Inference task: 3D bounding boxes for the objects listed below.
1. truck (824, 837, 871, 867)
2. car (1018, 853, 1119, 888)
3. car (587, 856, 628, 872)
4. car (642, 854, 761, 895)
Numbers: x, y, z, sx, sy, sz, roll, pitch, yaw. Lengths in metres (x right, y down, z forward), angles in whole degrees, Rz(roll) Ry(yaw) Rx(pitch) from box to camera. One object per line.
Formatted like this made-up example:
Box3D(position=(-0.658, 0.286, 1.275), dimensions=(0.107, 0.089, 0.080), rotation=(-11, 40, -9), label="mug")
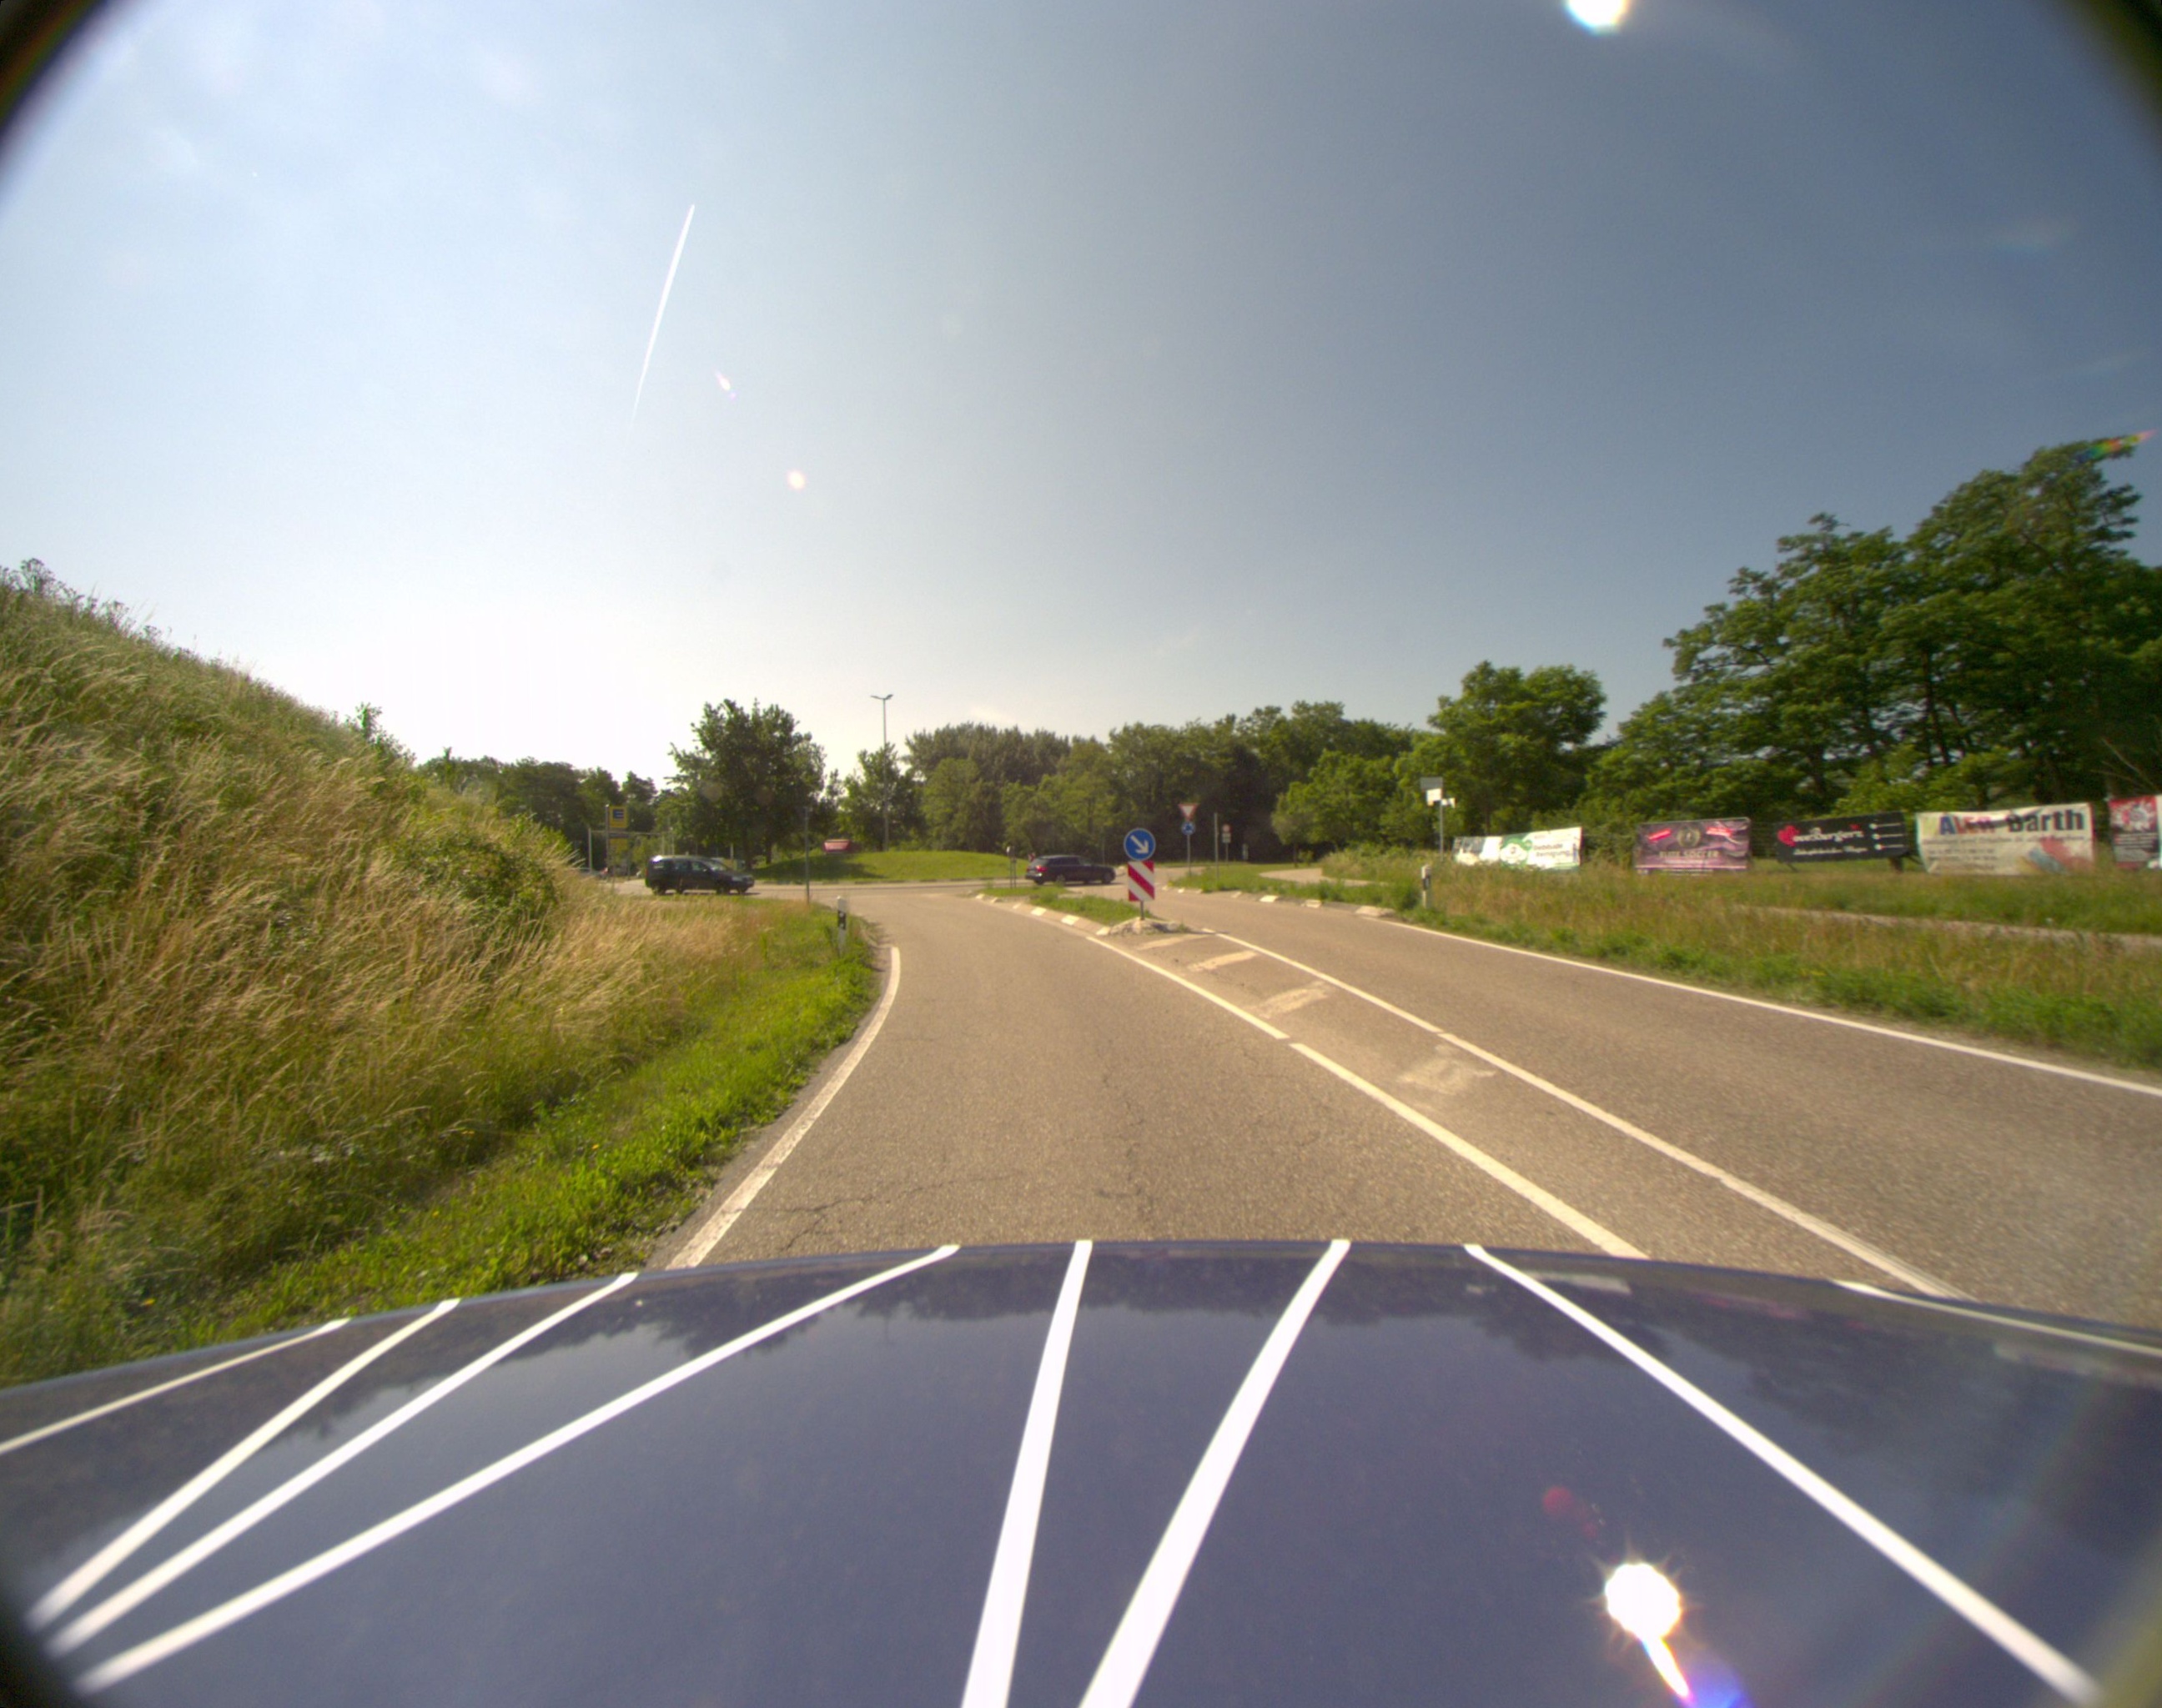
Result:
Box3D(position=(-23.520, -0.231, 77.098), dimensions=(2.480, 2.815, 9.053), rotation=(-2, 0, -4), label="truck")
Box3D(position=(-0.577, 0.771, 37.490), dimensions=(4.687, 1.481, 1.809), rotation=(-2, 2, -33), label="car")
Box3D(position=(-58.649, 1.243, 94.129), dimensions=(4.008, 1.784, 1.606), rotation=(-1, 0, -42), label="car")
Box3D(position=(-16.429, 0.868, 33.011), dimensions=(4.346, 1.646, 1.709), rotation=(-1, 0, 6), label="car")
